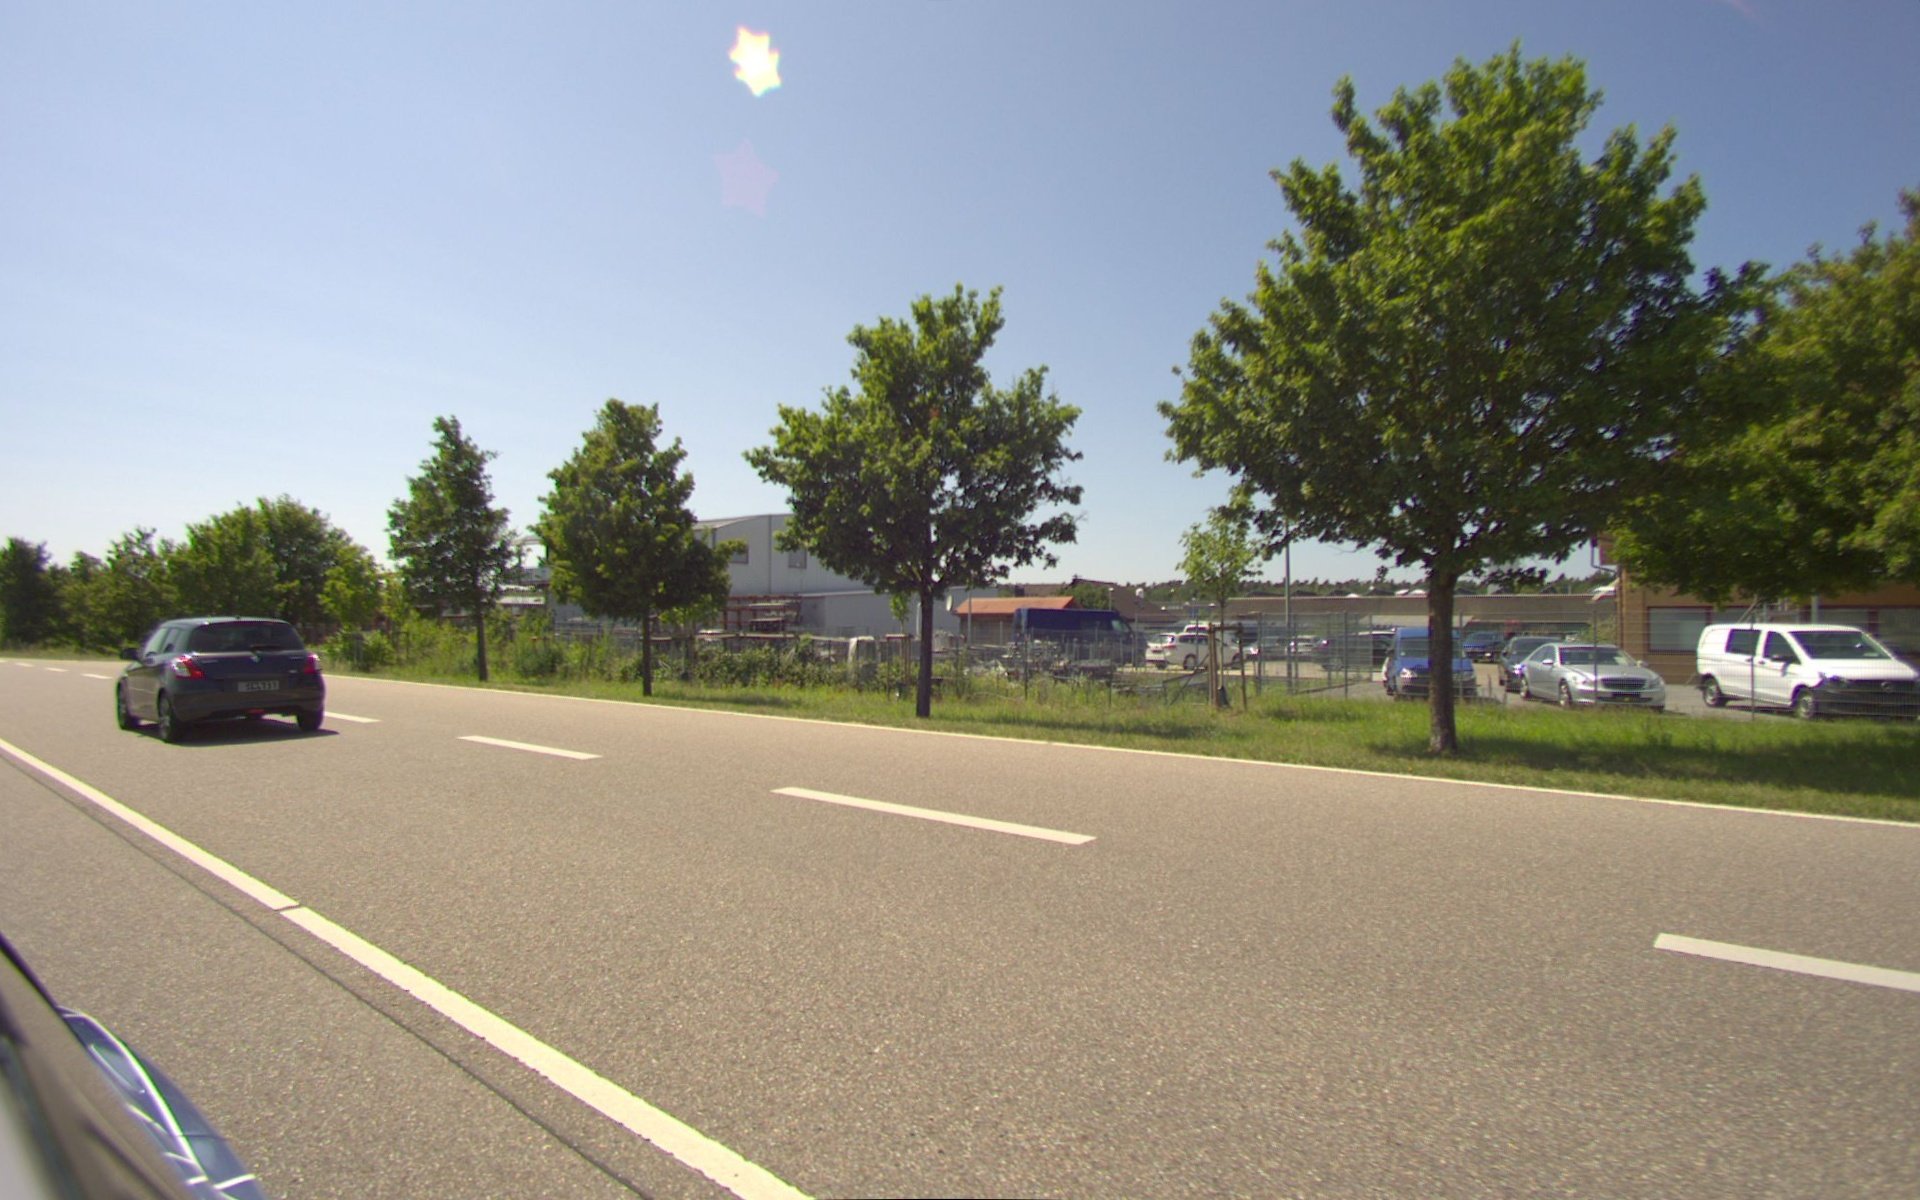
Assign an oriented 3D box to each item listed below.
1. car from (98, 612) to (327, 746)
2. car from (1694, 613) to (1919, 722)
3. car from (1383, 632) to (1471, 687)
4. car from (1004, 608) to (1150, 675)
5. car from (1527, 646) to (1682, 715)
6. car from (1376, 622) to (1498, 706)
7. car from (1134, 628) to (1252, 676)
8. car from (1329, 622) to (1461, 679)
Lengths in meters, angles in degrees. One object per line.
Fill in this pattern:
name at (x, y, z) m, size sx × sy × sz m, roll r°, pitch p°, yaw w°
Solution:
car at (-10.055, 0.951, 13.511) m, size 3.884 × 1.510 × 1.662 m, roll -2°, pitch -1°, yaw 41°
car at (17.423, 1.276, 20.818) m, size 1.806 × 1.969 × 4.651 m, roll -1°, pitch -1°, yaw 9°
car at (13.716, 1.702, 29.644) m, size 1.639 × 1.419 × 3.653 m, roll -1°, pitch -1°, yaw 36°
car at (4.963, 1.792, 43.090) m, size 5.646 × 2.743 × 2.372 m, roll 1°, pitch -3°, yaw -18°
car at (14.230, 1.724, 22.593) m, size 1.799 × 1.274 × 3.663 m, roll -1°, pitch -1°, yaw 14°
car at (11.562, 1.476, 24.832) m, size 2.007 × 1.815 × 4.282 m, roll -1°, pitch -1°, yaw 16°
car at (9.356, 2.094, 40.606) m, size 4.557 × 1.821 × 2.061 m, roll 2°, pitch -3°, yaw -34°
car at (19.616, 2.297, 45.835) m, size 5.037 × 2.445 × 2.054 m, roll 1°, pitch -3°, yaw 4°
